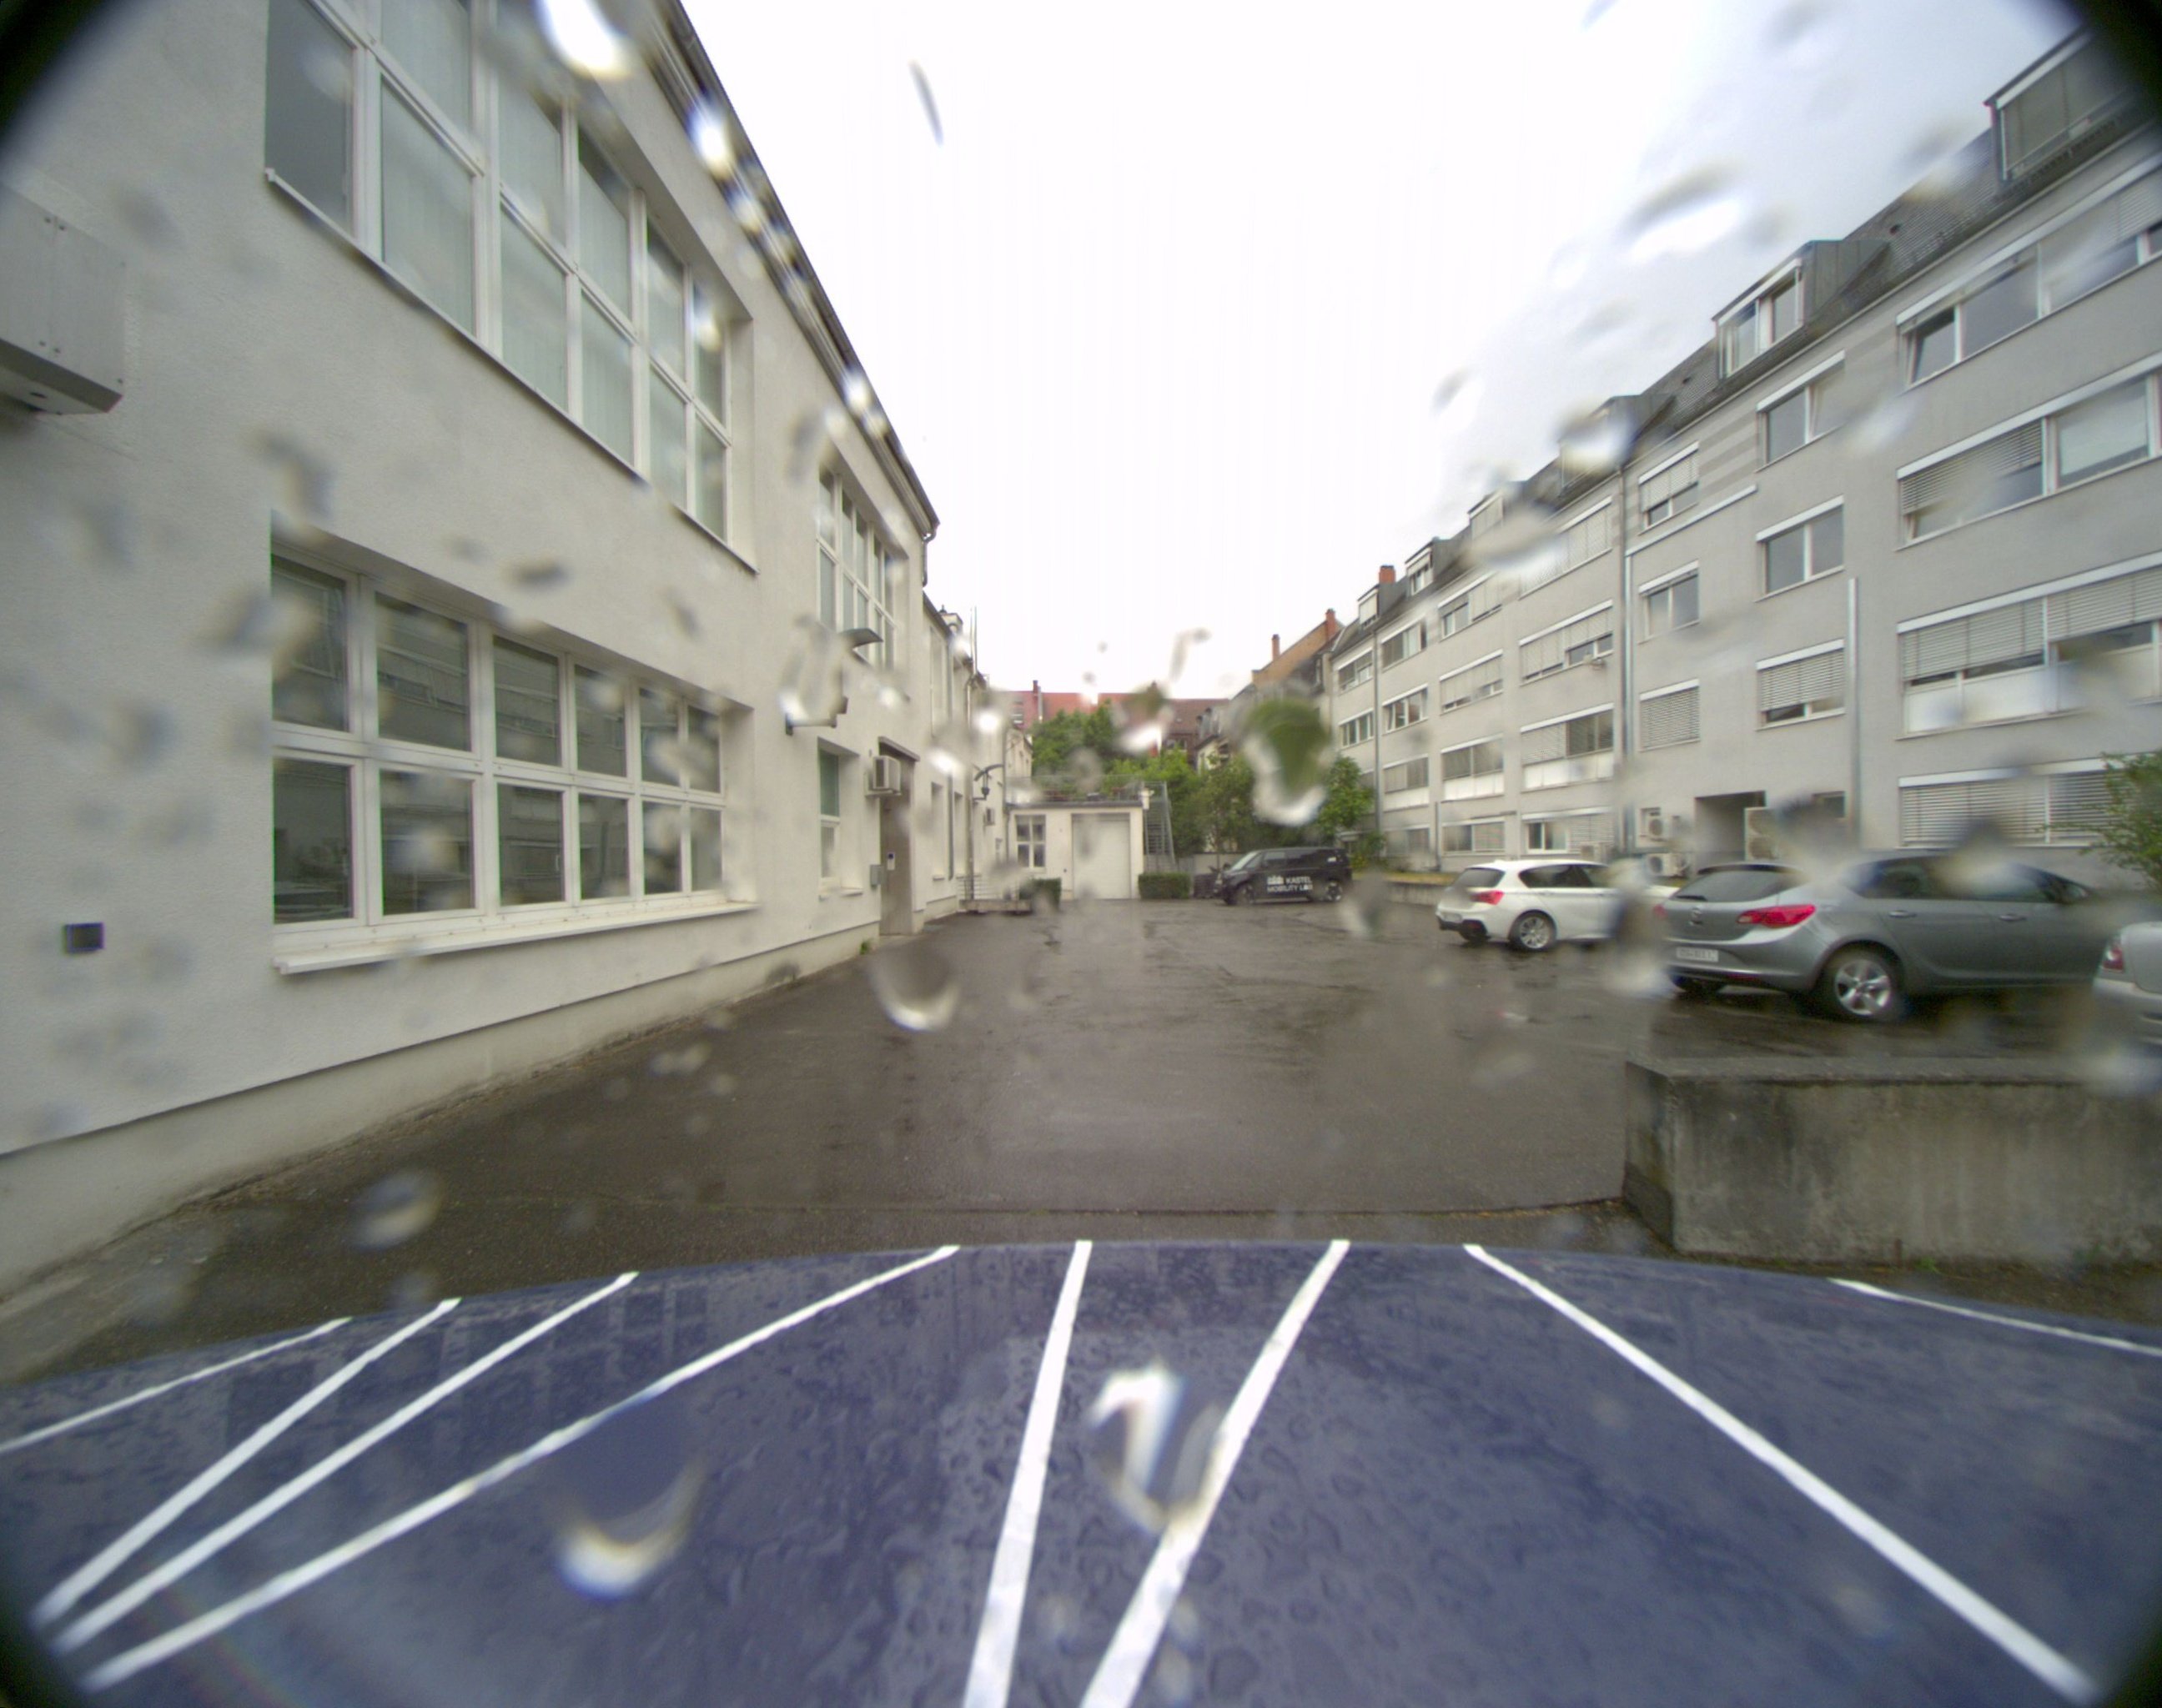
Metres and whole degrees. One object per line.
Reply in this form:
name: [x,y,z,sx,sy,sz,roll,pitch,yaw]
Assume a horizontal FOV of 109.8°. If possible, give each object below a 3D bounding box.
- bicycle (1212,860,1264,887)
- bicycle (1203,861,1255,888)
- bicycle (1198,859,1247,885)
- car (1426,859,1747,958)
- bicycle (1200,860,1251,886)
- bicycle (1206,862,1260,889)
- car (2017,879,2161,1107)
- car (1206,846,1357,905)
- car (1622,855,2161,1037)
bicycle: [7.483,0.923,36.249,2.319,1.180,0.643,-1,3,3]
bicycle: [6.905,0.958,35.608,2.319,1.180,0.643,-1,3,3]
bicycle: [6.966,0.890,37.407,2.319,1.180,0.643,-1,3,3]
car: [8.144,0.830,12.485,4.150,1.425,1.753,-1,1,-2]
bicycle: [6.989,0.913,36.773,2.319,1.180,0.643,-1,3,3]
bicycle: [6.952,0.986,34.808,2.319,1.180,0.643,-1,3,3]
car: [8.668,0.766,4.429,4.176,1.325,1.822,-3,-1,-1]
car: [6.880,0.735,26.342,4.630,1.825,1.988,-1,-1,-5]
car: [7.972,0.782,7.372,4.177,1.475,1.822,-1,-1,-2]
